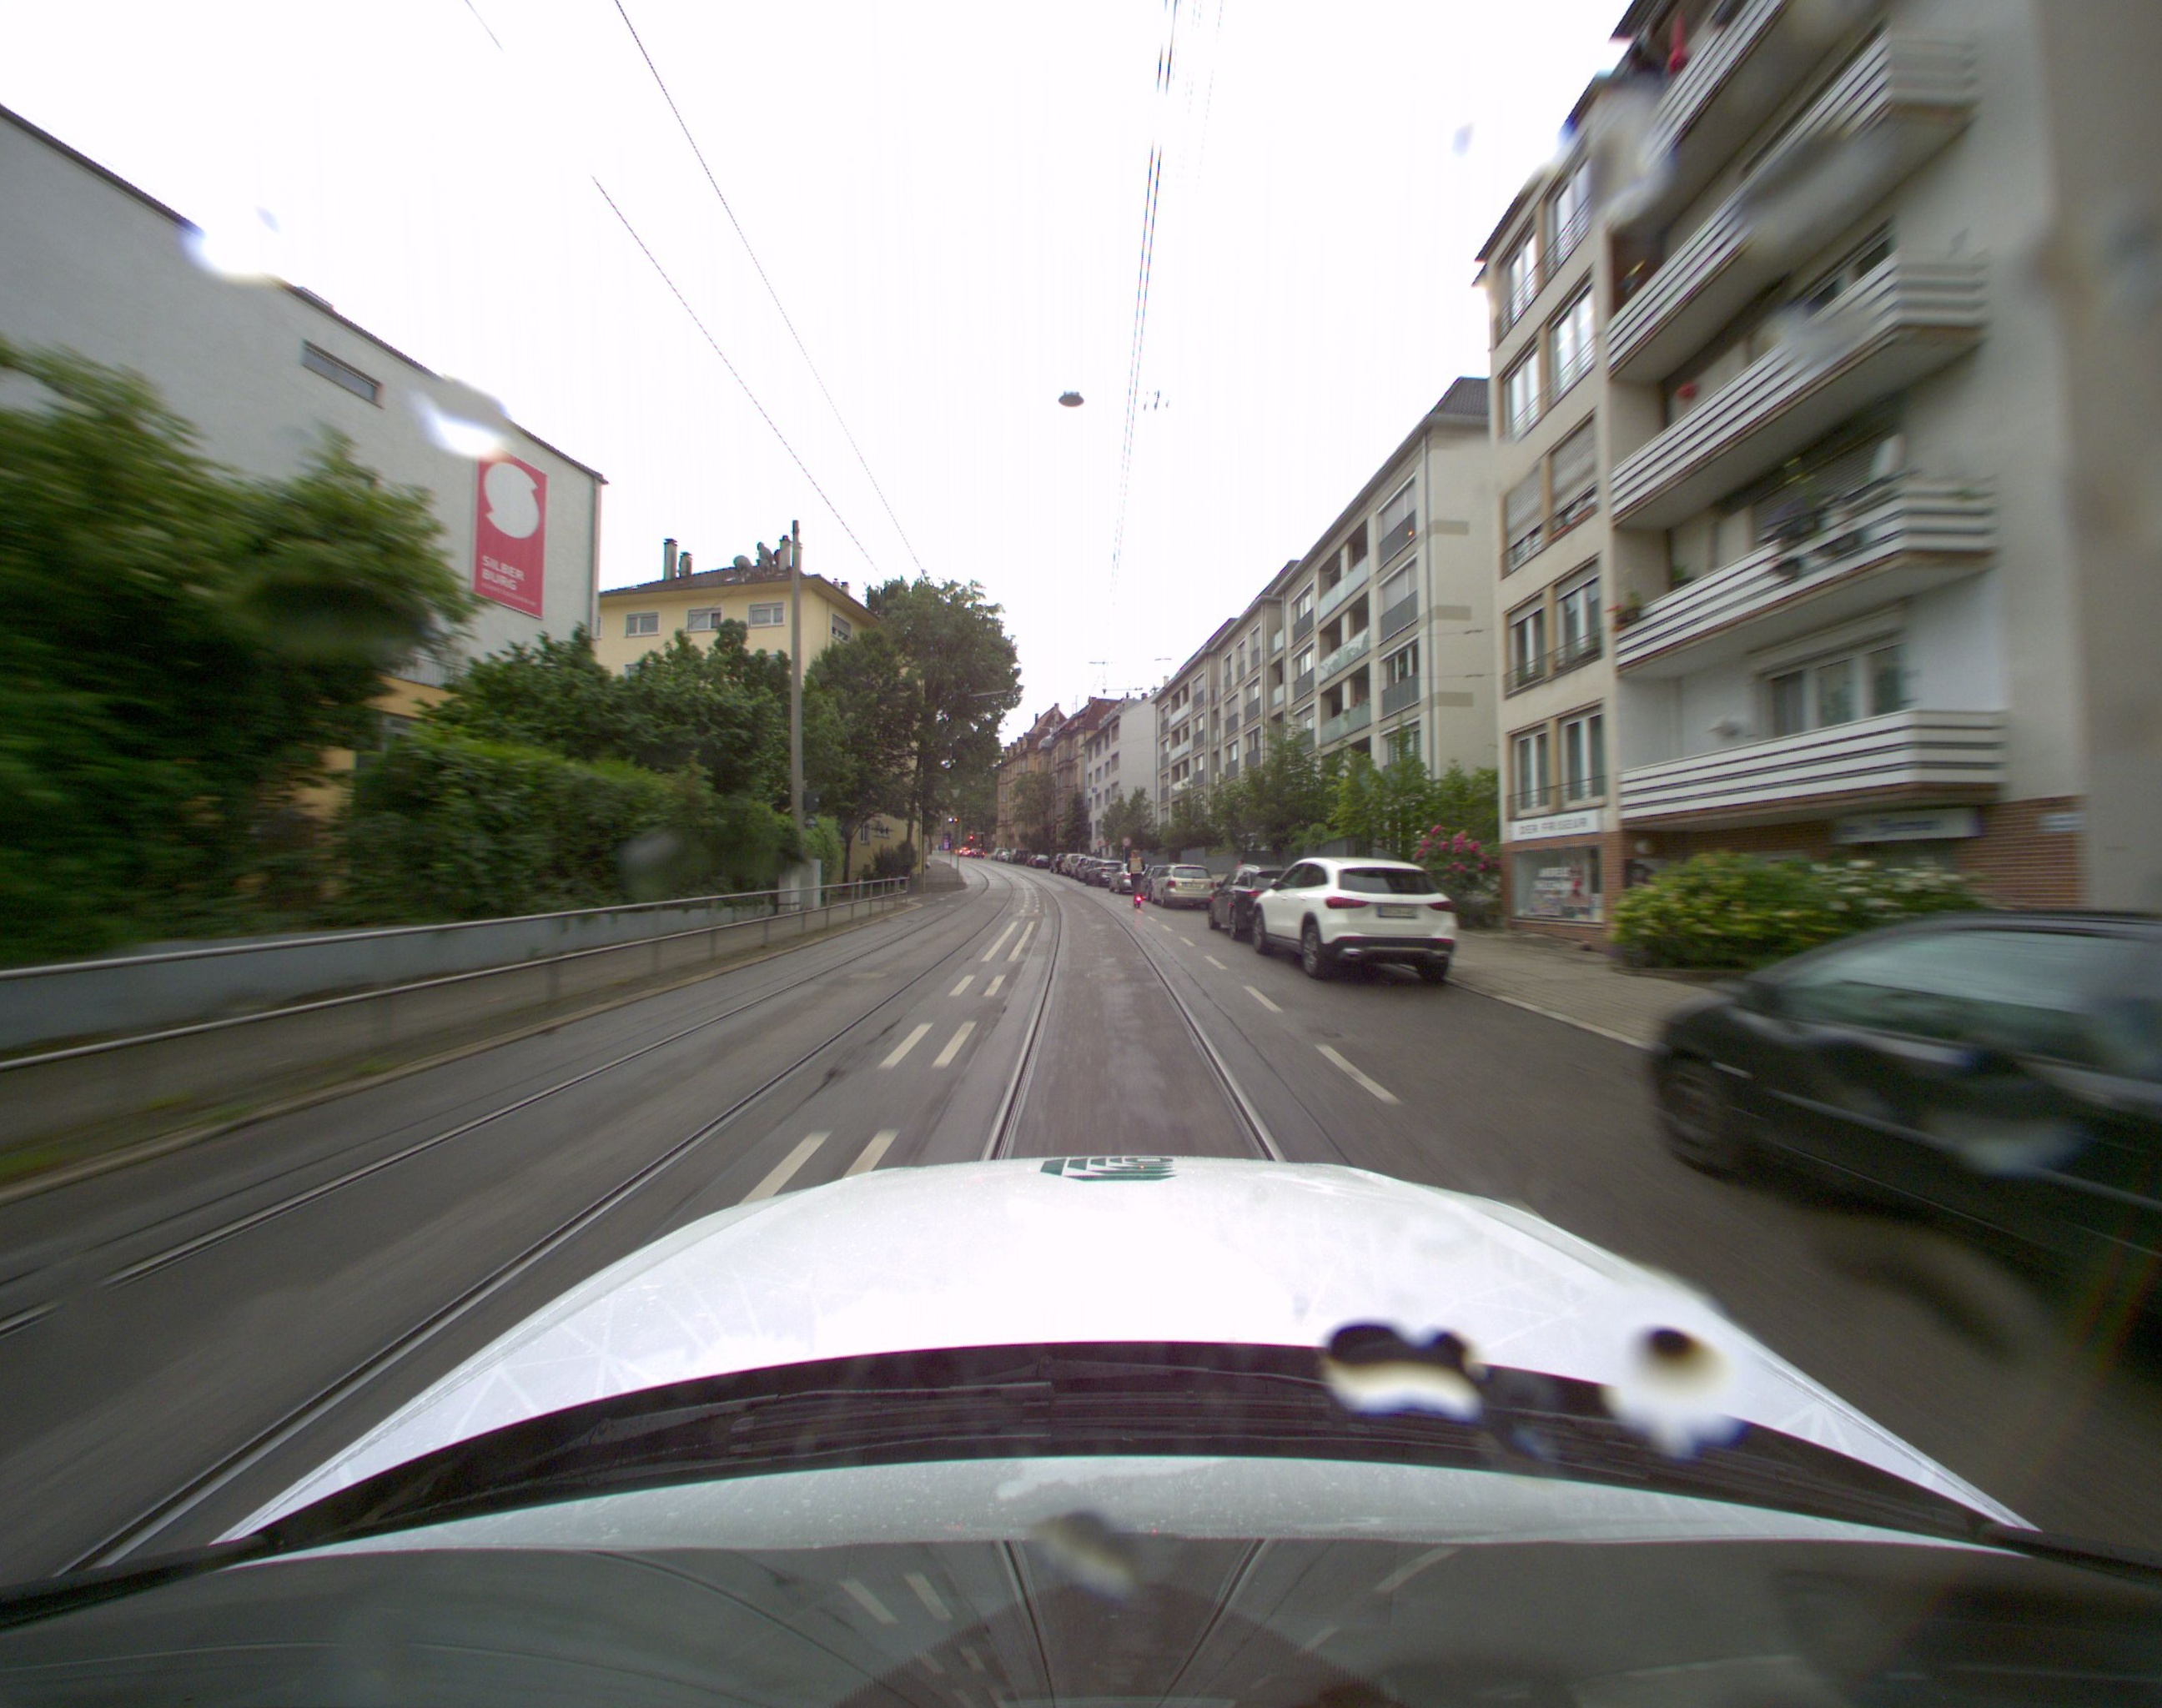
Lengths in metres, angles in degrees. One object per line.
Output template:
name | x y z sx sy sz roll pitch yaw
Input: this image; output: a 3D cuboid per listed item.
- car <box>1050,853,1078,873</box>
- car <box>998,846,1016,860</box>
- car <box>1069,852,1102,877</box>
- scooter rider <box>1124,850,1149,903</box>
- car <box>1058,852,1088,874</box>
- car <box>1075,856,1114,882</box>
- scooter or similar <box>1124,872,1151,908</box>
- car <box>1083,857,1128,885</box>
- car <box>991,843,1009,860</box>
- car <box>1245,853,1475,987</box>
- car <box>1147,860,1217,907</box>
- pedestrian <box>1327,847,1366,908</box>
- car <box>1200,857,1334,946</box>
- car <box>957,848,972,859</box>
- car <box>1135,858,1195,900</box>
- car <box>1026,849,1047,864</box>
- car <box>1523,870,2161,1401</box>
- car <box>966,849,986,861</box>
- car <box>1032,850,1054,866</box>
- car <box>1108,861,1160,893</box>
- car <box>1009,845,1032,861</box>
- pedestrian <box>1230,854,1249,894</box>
car | -1.550 0.787 72.112 1.767 1.684 4.234 2 0 -10
car | -10.082 -0.129 110.613 2.029 1.824 4.123 2 0 -12
car | 0.310 0.747 61.295 1.766 1.787 4.236 2 0 -9
scooter rider | 1.834 0.730 26.877 0.622 1.705 0.842 2 0 -5
car | -0.691 0.704 67.441 1.767 1.684 4.232 2 0 -11
car | 0.878 0.967 55.515 1.767 1.615 4.233 2 0 -11
scooter or similar | 1.845 1.172 26.852 0.513 1.049 2.005 3 0 -5
car | 1.464 1.004 49.890 1.768 1.615 4.229 0 0 -13
car | -11.523 -0.388 115.706 2.030 2.218 4.120 2 0 -14
car | 3.881 0.822 12.200 1.832 1.573 4.245 2 0 -2
car | 3.427 0.974 28.374 1.657 1.471 4.502 2 -1 -3
pedestrian | 6.931 0.601 21.318 0.569 1.542 0.927 -2 0 -9
car | 3.745 0.872 17.189 1.696 1.512 4.570 3 0 0
car | -19.302 -0.071 134.742 1.861 1.734 4.116 2 0 -17
car | 3.341 0.986 32.992 1.699 1.512 3.708 2 0 -5
car | -4.956 0.304 90.511 1.651 1.536 3.873 -2 1 -12
car | 3.874 0.851 3.546 1.551 1.437 4.303 1 0 0
car | -16.636 0.144 129.155 2.037 1.734 4.106 2 0 -25
car | -4.023 0.407 85.508 1.767 1.518 4.125 2 0 -10
car | 2.537 1.083 40.104 1.760 1.435 4.628 0 0 -7
car | -7.467 -0.127 99.586 2.031 1.824 4.347 2 0 -14
pedestrian | 6.364 0.798 32.698 0.567 1.542 0.651 -2 0 -1
